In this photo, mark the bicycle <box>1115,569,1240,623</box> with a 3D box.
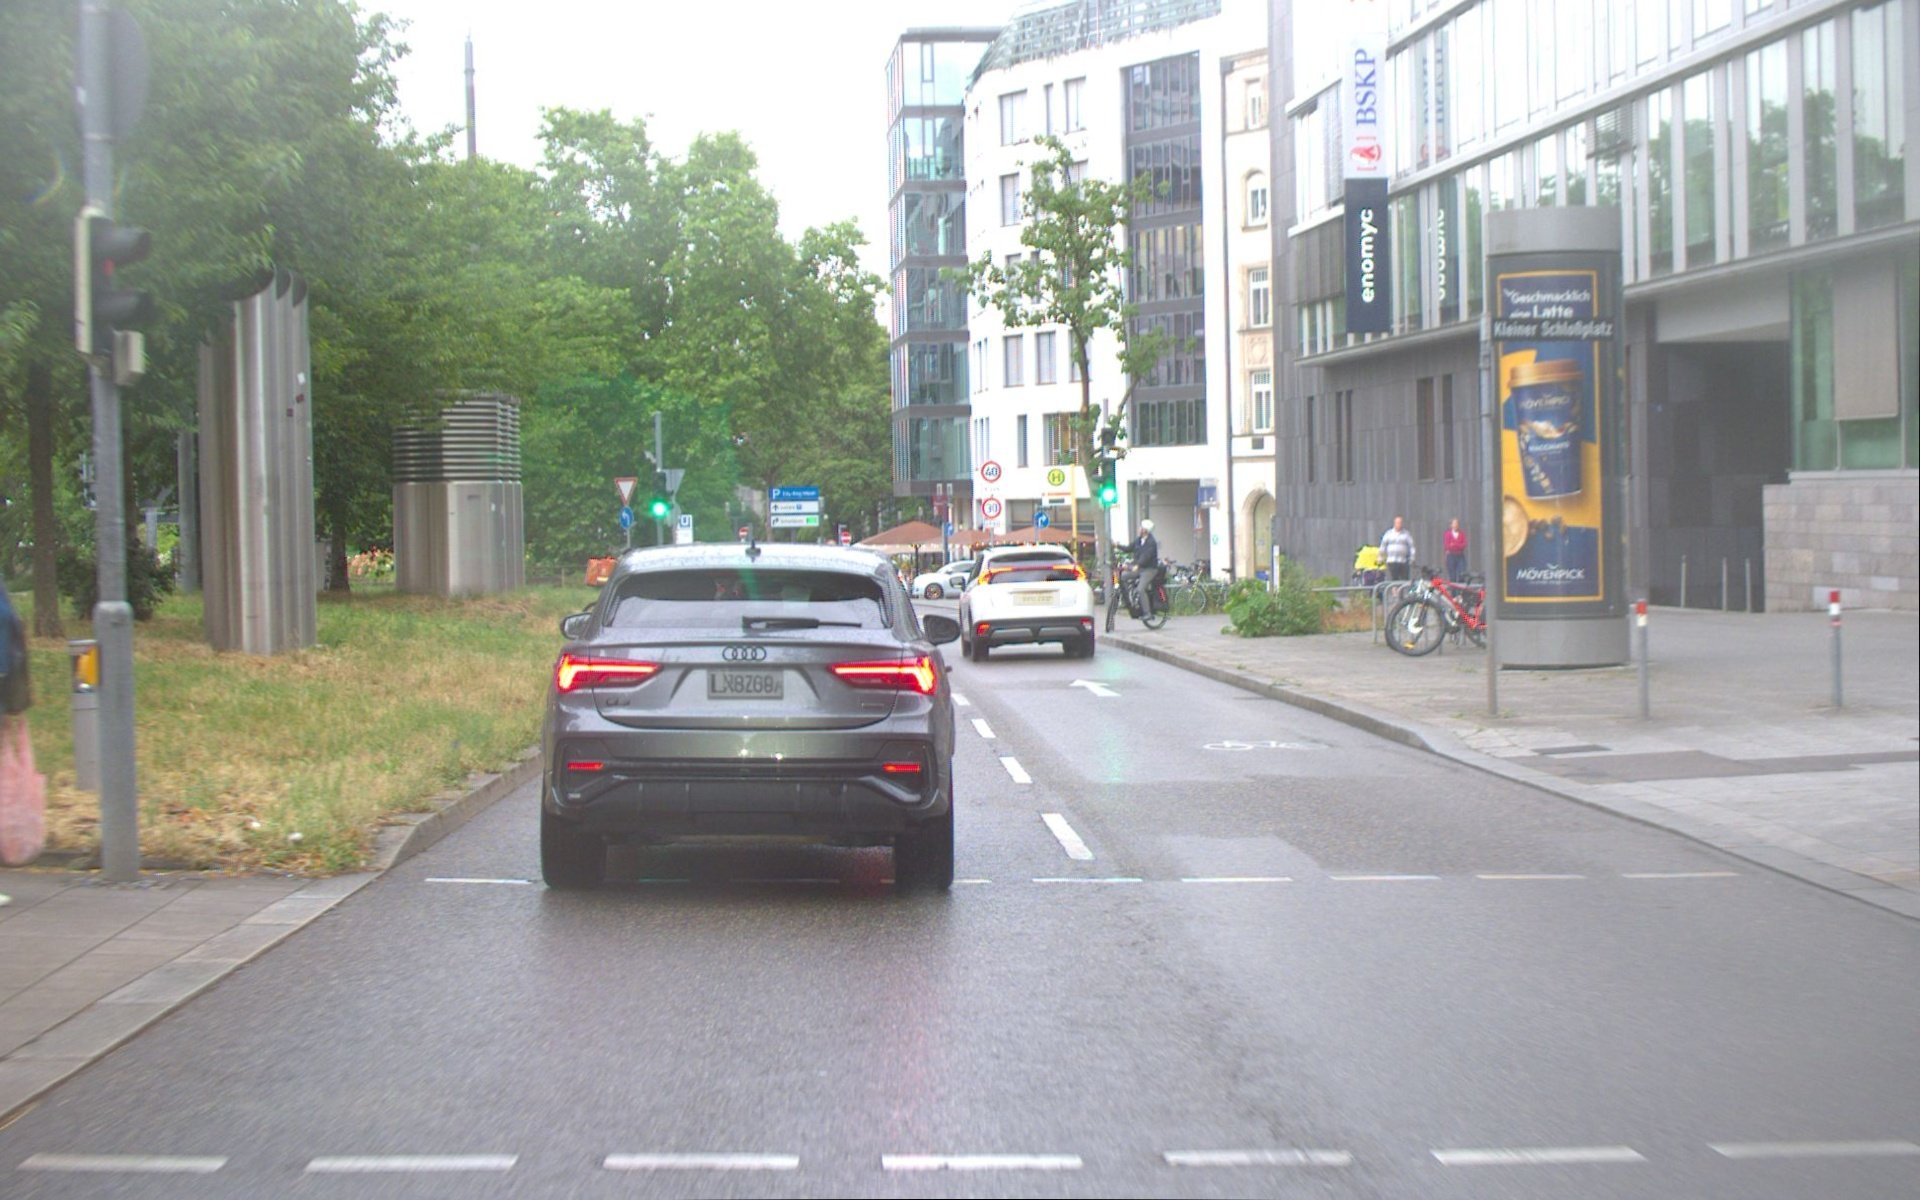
[{"bbox_3d":[4.546,-0.085,71.932,2.535,1.083,0.677,1,0,-4],"label":"bicycle"}]

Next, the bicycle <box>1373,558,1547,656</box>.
[{"bbox_3d":[6.028,0.078,41.516,1.984,1.100,0.808,-2,1,4],"label":"bicycle"}]

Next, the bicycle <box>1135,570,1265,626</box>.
[{"bbox_3d":[4.855,-0.045,69.648,2.535,1.053,0.677,-2,0,-4],"label":"bicycle"}]

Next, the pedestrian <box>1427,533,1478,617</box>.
[{"bbox_3d":[10.252,-0.518,71.575,0.718,1.684,1.100,-4,1,-5],"label":"pedestrian"}]

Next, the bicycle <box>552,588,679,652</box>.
[{"bbox_3d":[-6.320,0.354,63.056,2.062,1.110,1.011,1,0,20],"label":"bicycle"}]

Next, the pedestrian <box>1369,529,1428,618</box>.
[{"bbox_3d":[9.126,-0.553,71.567,0.900,1.786,1.047,-4,1,-5],"label":"pedestrian"}]

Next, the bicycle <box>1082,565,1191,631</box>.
[{"bbox_3d":[3.261,-0.044,63.301,0.762,1.141,2.127,-2,0,44],"label":"bicycle"}]

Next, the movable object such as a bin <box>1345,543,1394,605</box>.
[{"bbox_3d":[8.679,-0.548,72.912,0.731,1.259,1.444,-4,1,-3],"label":"movable object such as a bin"}]

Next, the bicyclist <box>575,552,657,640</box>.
[{"bbox_3d":[-6.305,-0.082,63.061,1.133,1.577,1.014,1,0,20],"label":"bicyclist"}]

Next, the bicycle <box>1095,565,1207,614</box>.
[{"bbox_3d":[4.517,-0.245,81.253,2.535,1.083,0.677,-2,0,-4],"label":"bicycle"}]

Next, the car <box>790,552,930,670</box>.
[{"bbox_3d":[-1.437,0.126,50.871,1.945,1.641,4.245,-1,1,0],"label":"car"}]

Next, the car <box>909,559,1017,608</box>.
[{"bbox_3d":[0.105,-0.631,129.853,3.987,1.641,2.000,3,1,0],"label":"car"}]

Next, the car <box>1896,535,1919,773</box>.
[{"bbox_3d":[7.593,0.303,19.956,3.830,1.412,1.632,0,1,38],"label":"car"}]

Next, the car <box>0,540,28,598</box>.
[{"bbox_3d":[-29.204,-0.919,103.098,1.945,1.695,4.001,-1,1,-9],"label":"car"}]

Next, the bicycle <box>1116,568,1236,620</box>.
[{"bbox_3d":[4.747,-0.143,75.687,2.535,1.056,0.677,-2,0,-4],"label":"bicycle"}]

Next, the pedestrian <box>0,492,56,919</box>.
[{"bbox_3d":[-4.025,0.411,13.905,0.527,1.680,0.721,0,1,0],"label":"pedestrian"}]

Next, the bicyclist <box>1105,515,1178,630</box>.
[{"bbox_3d":[3.355,-0.506,63.409,0.762,2.076,1.082,-2,0,45],"label":"bicyclist"}]

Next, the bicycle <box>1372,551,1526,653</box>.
[{"bbox_3d":[6.161,0.022,43.368,1.836,1.193,0.660,-2,1,4],"label":"bicycle"}]

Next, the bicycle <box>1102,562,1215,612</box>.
[{"bbox_3d":[4.640,-0.308,80.363,2.535,1.083,0.677,-2,0,-4],"label":"bicycle"}]

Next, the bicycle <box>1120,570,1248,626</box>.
[{"bbox_3d":[4.630,-0.039,71.070,2.535,1.083,0.677,-2,0,-4],"label":"bicycle"}]

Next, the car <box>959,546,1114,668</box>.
[{"bbox_3d":[1.105,0.071,50.726,2.179,1.695,4.000,-1,1,1],"label":"car"}]

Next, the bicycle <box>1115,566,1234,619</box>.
[{"bbox_3d":[4.774,-0.166,76.596,2.535,1.083,0.677,-2,0,-4],"label":"bicycle"}]

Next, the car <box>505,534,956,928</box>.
[{"bbox_3d":[-0.952,0.502,16.359,1.848,1.610,4.253,0,1,0],"label":"car"}]

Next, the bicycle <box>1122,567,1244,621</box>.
[{"bbox_3d":[4.797,-0.127,74.061,2.535,1.083,0.677,-2,0,-4],"label":"bicycle"}]
